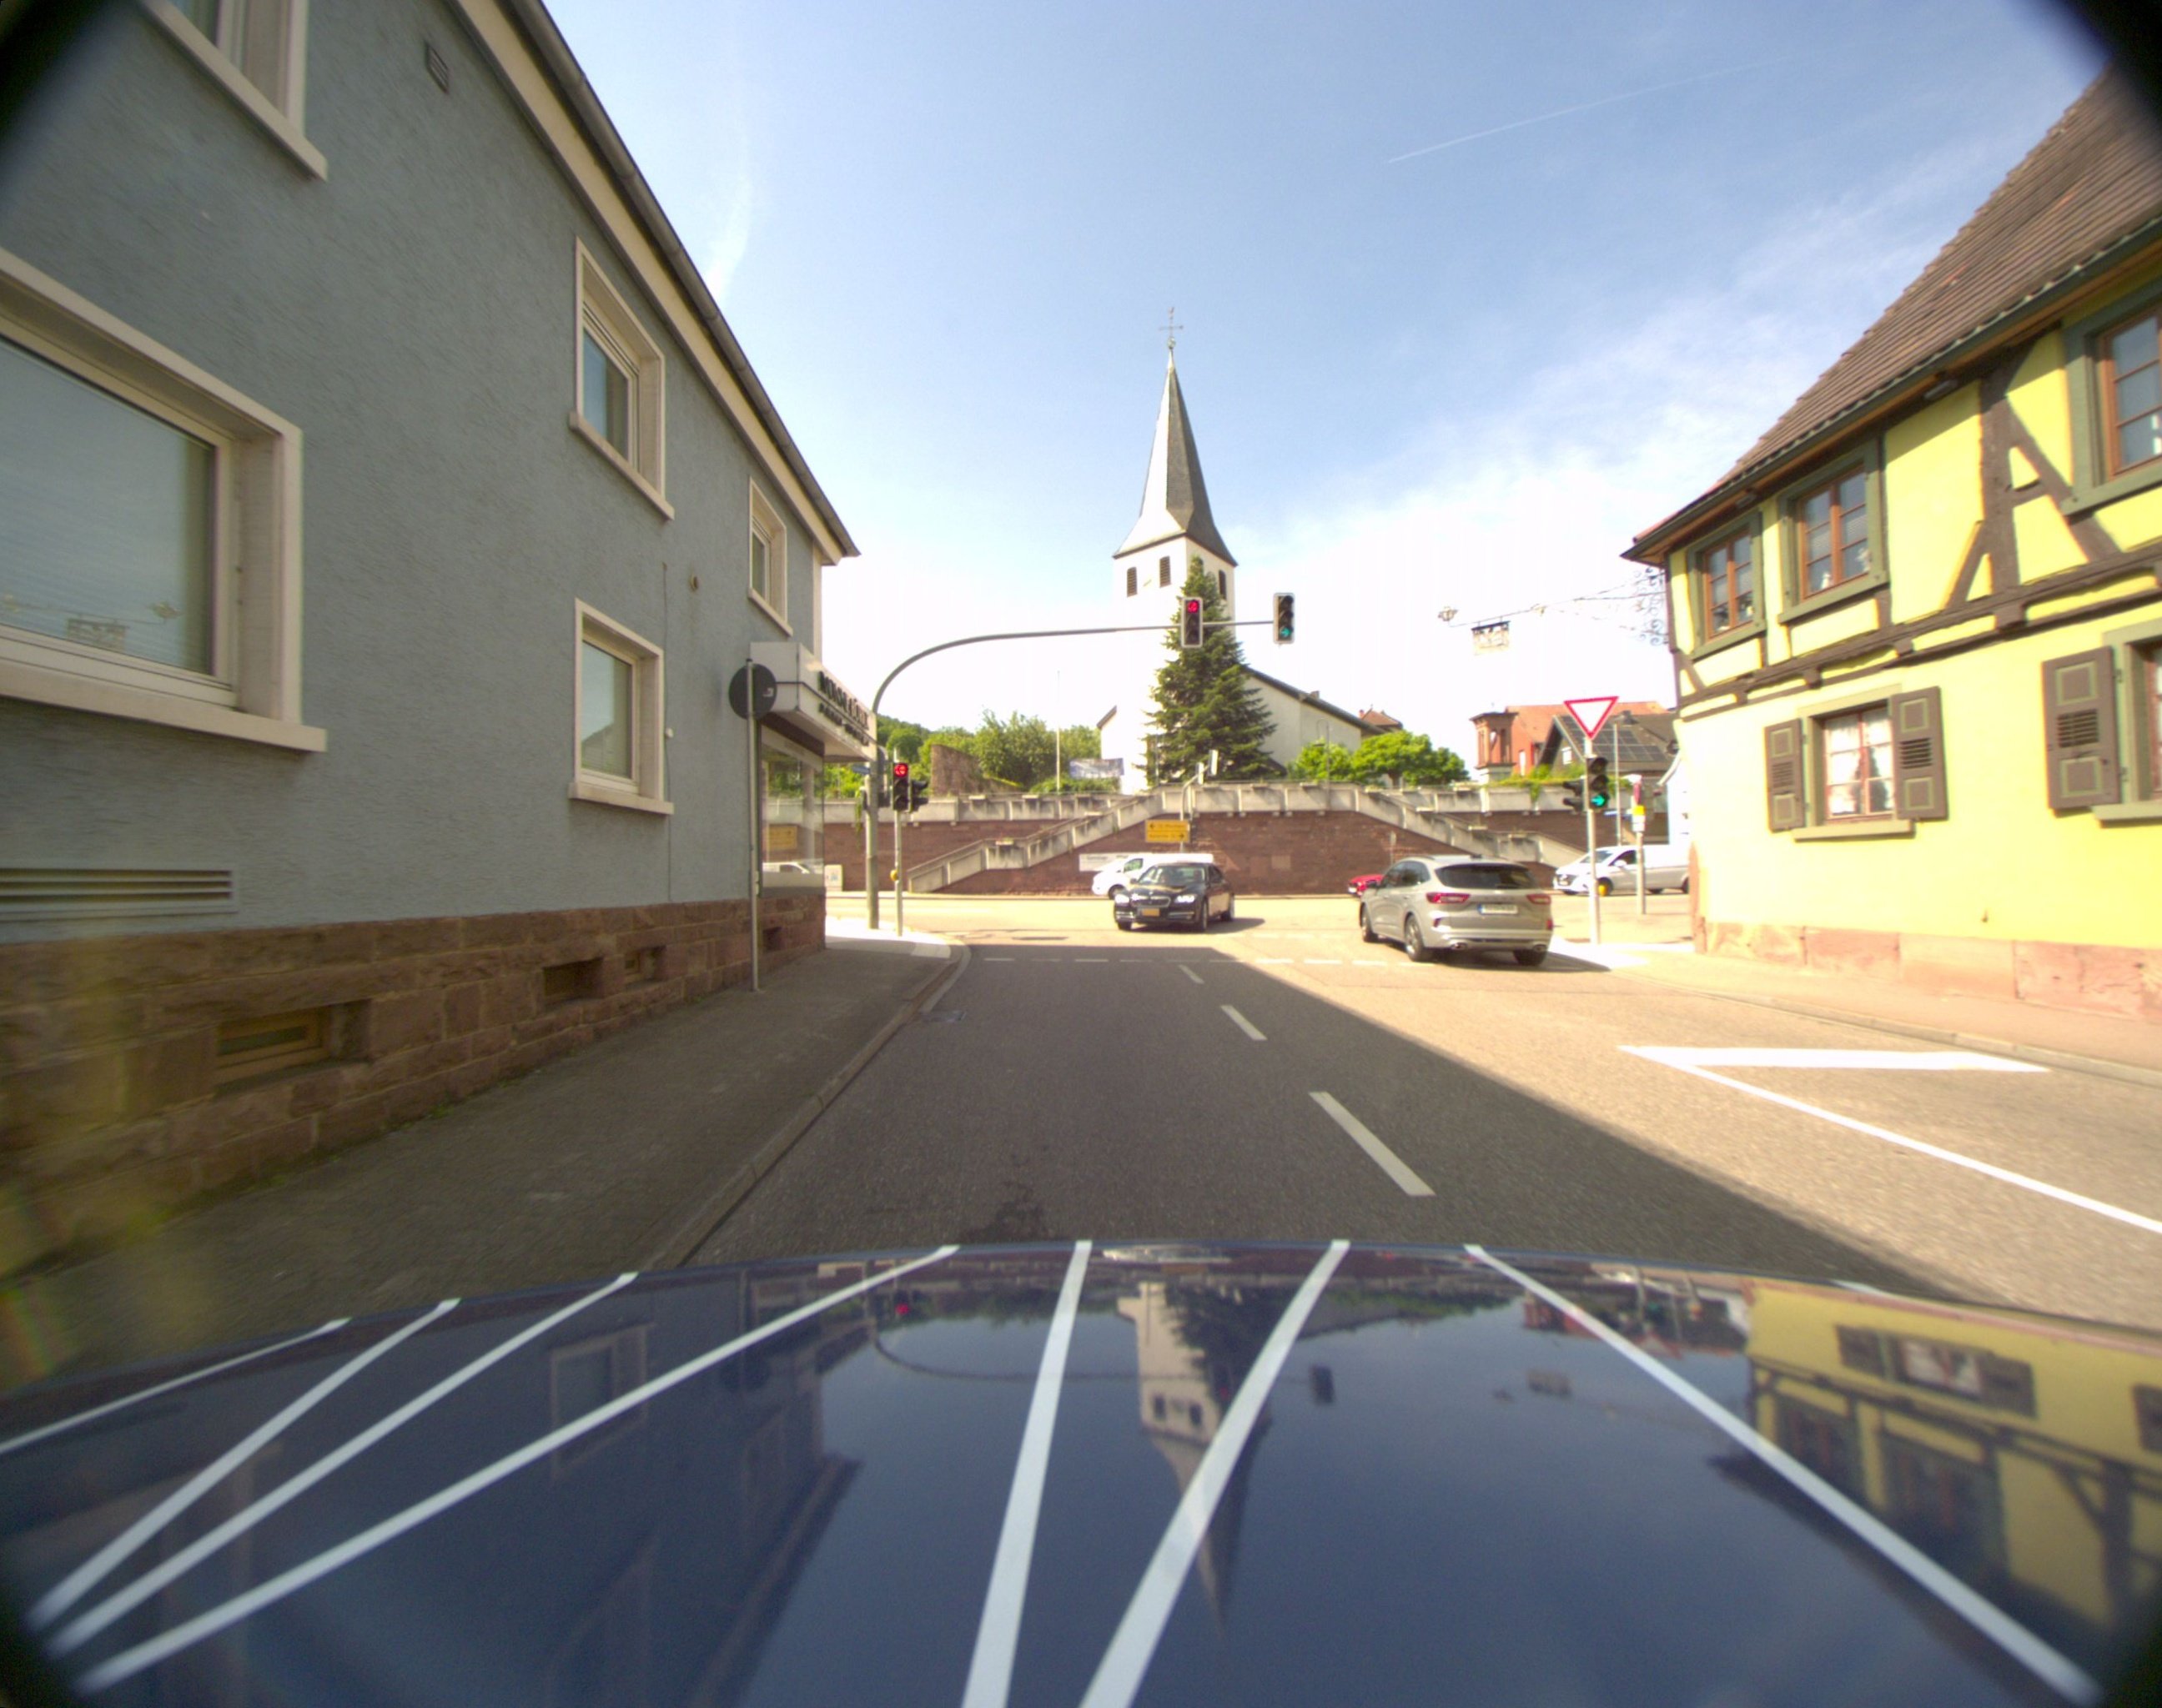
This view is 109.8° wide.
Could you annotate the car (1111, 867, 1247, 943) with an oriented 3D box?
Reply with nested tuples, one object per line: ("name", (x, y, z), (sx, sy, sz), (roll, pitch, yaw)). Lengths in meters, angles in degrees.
("car", (2.336, 1.038, 17.046), (1.822, 1.426, 4.256), (-1, -1, 25))

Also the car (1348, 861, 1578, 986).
("car", (5.886, 0.951, 12.396), (1.759, 1.600, 4.430), (2, 0, 5))

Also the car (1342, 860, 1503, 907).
("car", (12.404, 1.036, 27.777), (4.947, 1.506, 2.164), (-1, 0, -8))

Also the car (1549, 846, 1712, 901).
("car", (20.748, 0.727, 28.809), (4.962, 1.895, 1.826), (-1, -1, -4))

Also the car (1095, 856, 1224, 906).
("car", (3.266, 1.139, 32.462), (5.273, 1.955, 2.145), (-1, -1, 2))
